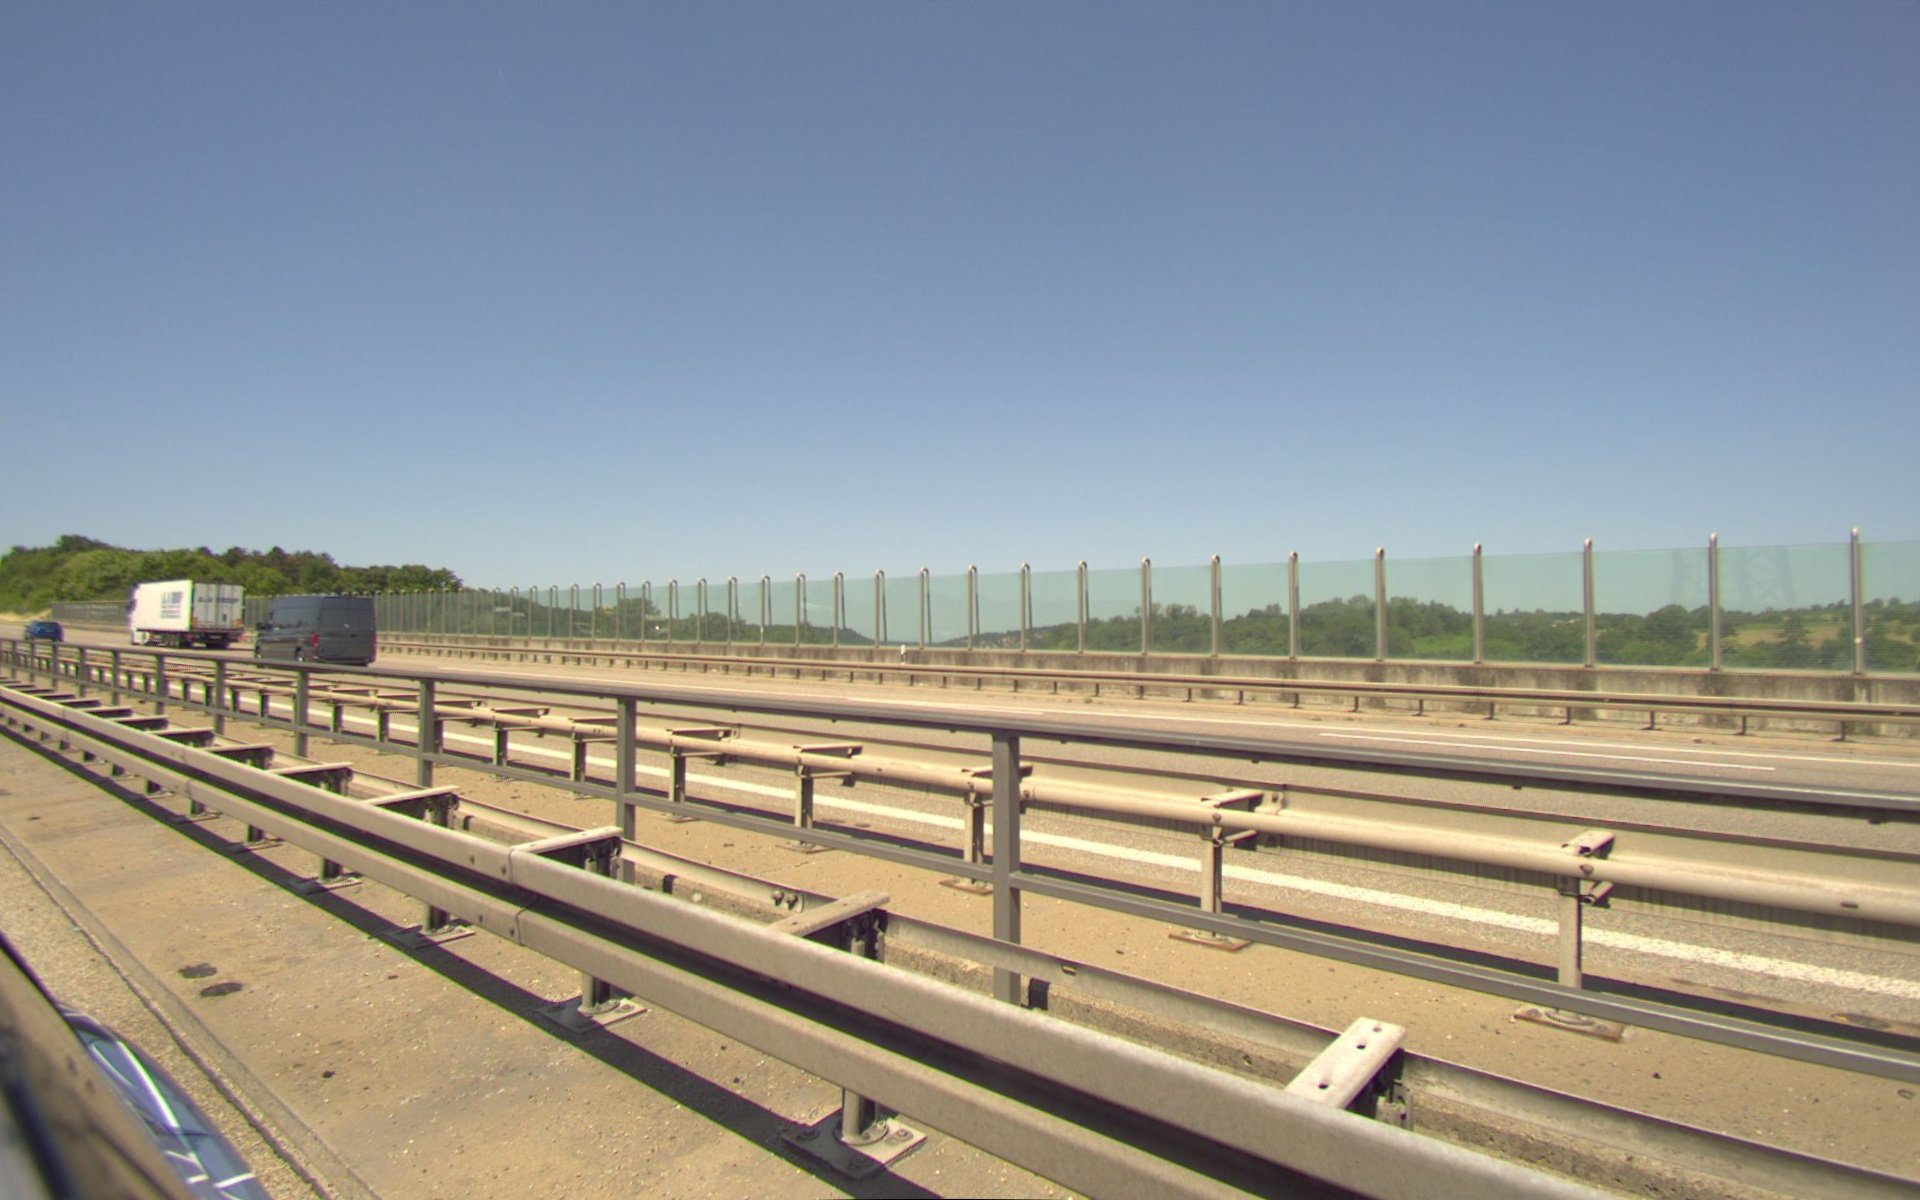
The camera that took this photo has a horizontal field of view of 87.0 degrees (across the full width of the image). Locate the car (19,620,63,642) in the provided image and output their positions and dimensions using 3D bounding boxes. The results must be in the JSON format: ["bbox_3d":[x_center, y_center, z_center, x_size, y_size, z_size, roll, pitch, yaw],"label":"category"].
[{"bbox_3d":[-65.378,2.209,71.958,4.602,1.503,1.754,-1,-2,41],"label":"car"}]

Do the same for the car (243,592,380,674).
[{"bbox_3d":[-22.537,1.127,35.011,6.644,2.602,1.973,0,-3,40],"label":"car"}]

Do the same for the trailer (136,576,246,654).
[{"bbox_3d":[-47.578,0.944,62.388,13.659,4.340,2.874,0,-3,42],"label":"trailer"}]

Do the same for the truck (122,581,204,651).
[{"bbox_3d":[-52.802,1.063,66.971,6.855,4.326,2.898,0,-4,42],"label":"truck"}]
